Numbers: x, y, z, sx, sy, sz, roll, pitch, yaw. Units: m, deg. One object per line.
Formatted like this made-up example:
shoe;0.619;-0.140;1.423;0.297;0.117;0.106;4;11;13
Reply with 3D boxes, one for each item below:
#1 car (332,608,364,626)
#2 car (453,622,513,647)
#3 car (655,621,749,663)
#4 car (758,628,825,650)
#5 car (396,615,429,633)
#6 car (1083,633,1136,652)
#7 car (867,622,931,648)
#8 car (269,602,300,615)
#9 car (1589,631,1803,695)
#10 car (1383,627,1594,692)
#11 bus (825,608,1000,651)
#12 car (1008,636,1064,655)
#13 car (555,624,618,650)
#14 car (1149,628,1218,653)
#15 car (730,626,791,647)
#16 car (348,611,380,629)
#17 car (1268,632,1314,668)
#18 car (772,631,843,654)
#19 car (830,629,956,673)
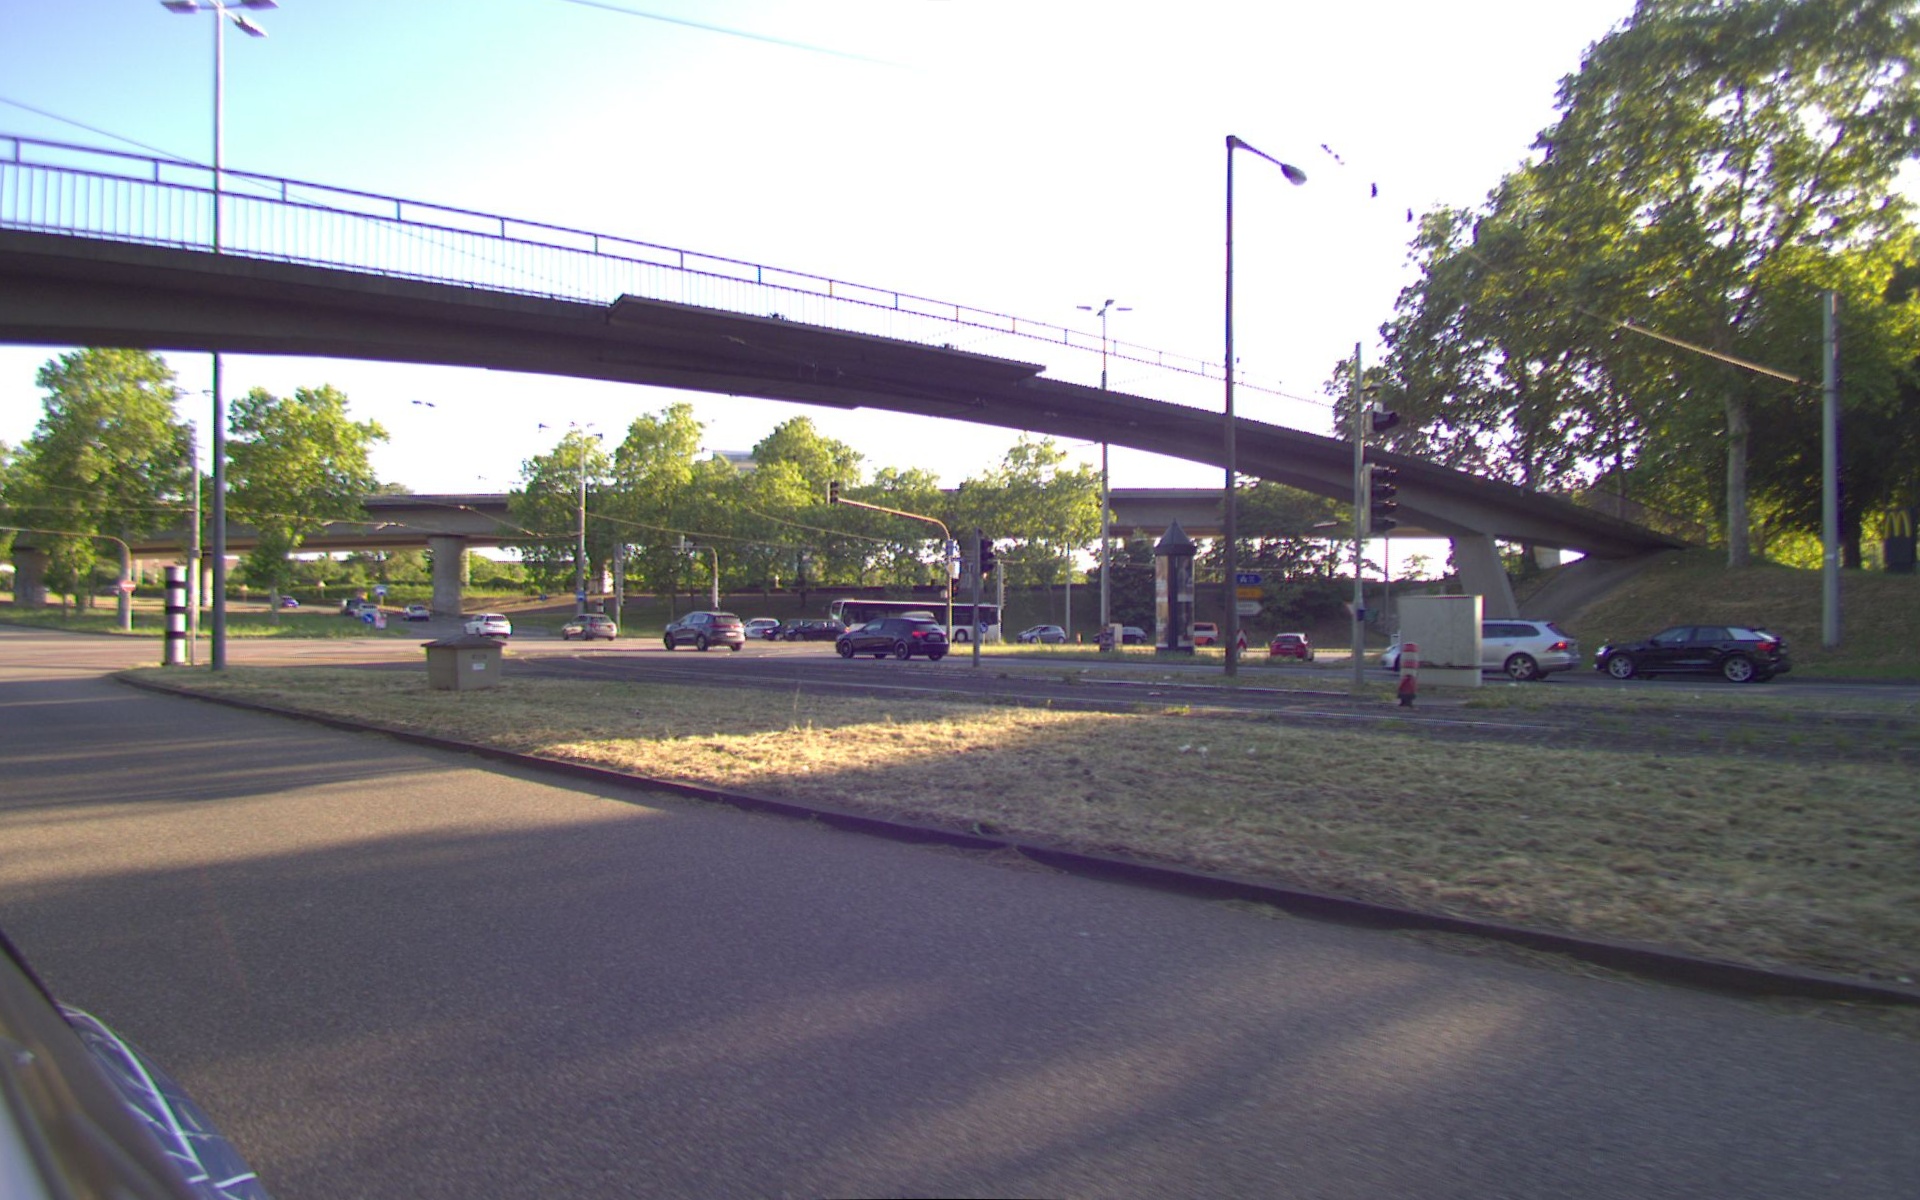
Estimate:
car;-63.475;1.745;104.916;4.147;1.881;1.830;0;-1;44
car;-28.945;2.052;61.284;1.981;1.454;4.866;1;-1;-42
car;-10.990;1.744;42.937;4.356;1.663;1.771;-1;-1;42
car;-10.904;2.509;65.492;3.931;1.364;1.614;1;-1;-30
car;-51.442;2.198;95.032;1.827;1.621;4.378;1;-1;-40
car;11.954;3.374;80.739;3.931;1.453;1.711;1;-1;-28
car;-4.161;2.391;69.005;4.024;1.665;1.722;1;-1;-28
car;-84.869;1.124;127.081;3.927;1.570;1.976;0;-1;36
car;18.924;1.555;26.184;1.665;1.426;4.200;0;-1;-39
car;13.122;1.416;25.272;4.434;1.426;1.669;-1;-1;40
bus;-3.319;2.179;73.569;12.630;2.977;2.841;1;-1;-26
car;5.871;3.501;77.992;3.931;1.453;1.711;1;-1;-28
car;-21.804;2.127;59.010;1.981;1.454;4.258;1;-1;-43
car;18.379;3.309;83.093;5.331;2.029;2.007;1;-1;-23
car;-13.503;2.463;68.459;3.670;1.364;1.614;1;-1;-30
car;-55.708;1.833;94.596;1.828;1.621;4.314;1;-1;-41
car;16.417;2.428;50.117;1.785;1.663;4.323;0;-1;23
car;-9.457;2.622;62.935;4.024;1.364;1.722;1;-1;-28
car;-2.292;1.679;33.998;4.306;1.320;1.669;-1;-1;40
